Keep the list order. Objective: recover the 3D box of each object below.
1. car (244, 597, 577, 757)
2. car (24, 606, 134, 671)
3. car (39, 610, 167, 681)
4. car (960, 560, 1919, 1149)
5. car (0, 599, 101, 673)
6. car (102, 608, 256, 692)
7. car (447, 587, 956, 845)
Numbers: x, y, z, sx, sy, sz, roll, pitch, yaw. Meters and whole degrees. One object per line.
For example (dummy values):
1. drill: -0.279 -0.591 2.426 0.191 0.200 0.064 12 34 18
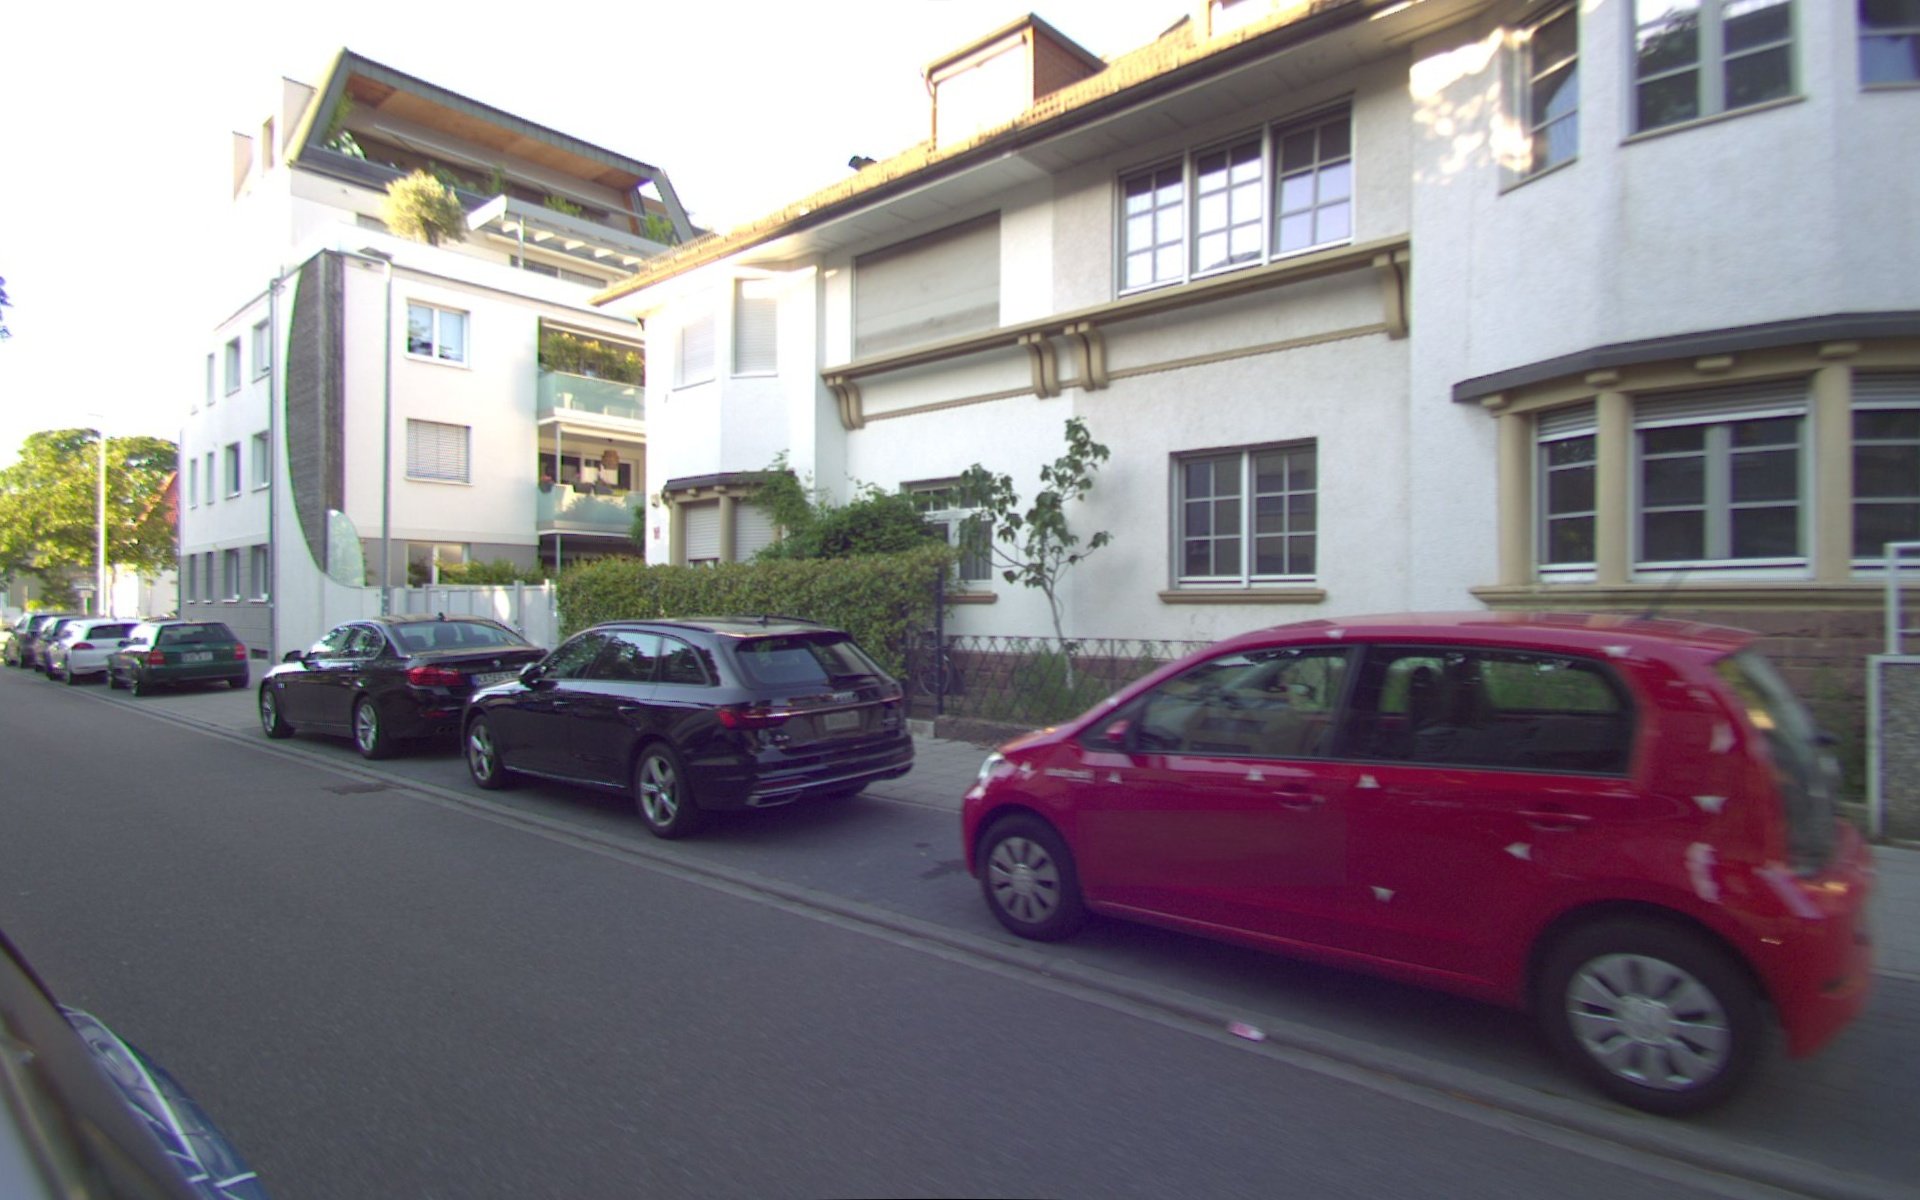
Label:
1. car: -6.494 0.753 11.741 4.559 1.470 1.722 -1 1 39
2. car: -22.982 0.967 26.352 3.907 1.509 1.700 -1 1 43
3. car: -19.448 0.971 22.919 3.907 1.405 1.700 -1 1 43
4. car: 1.822 0.638 4.250 3.429 1.494 1.633 -1 1 43
5. car: -26.783 0.992 29.606 4.197 1.963 1.888 -1 1 42
6. car: -15.295 0.909 19.751 3.907 1.405 1.700 -1 1 43
7. car: -2.246 0.689 8.032 4.376 1.470 1.720 -1 1 41
